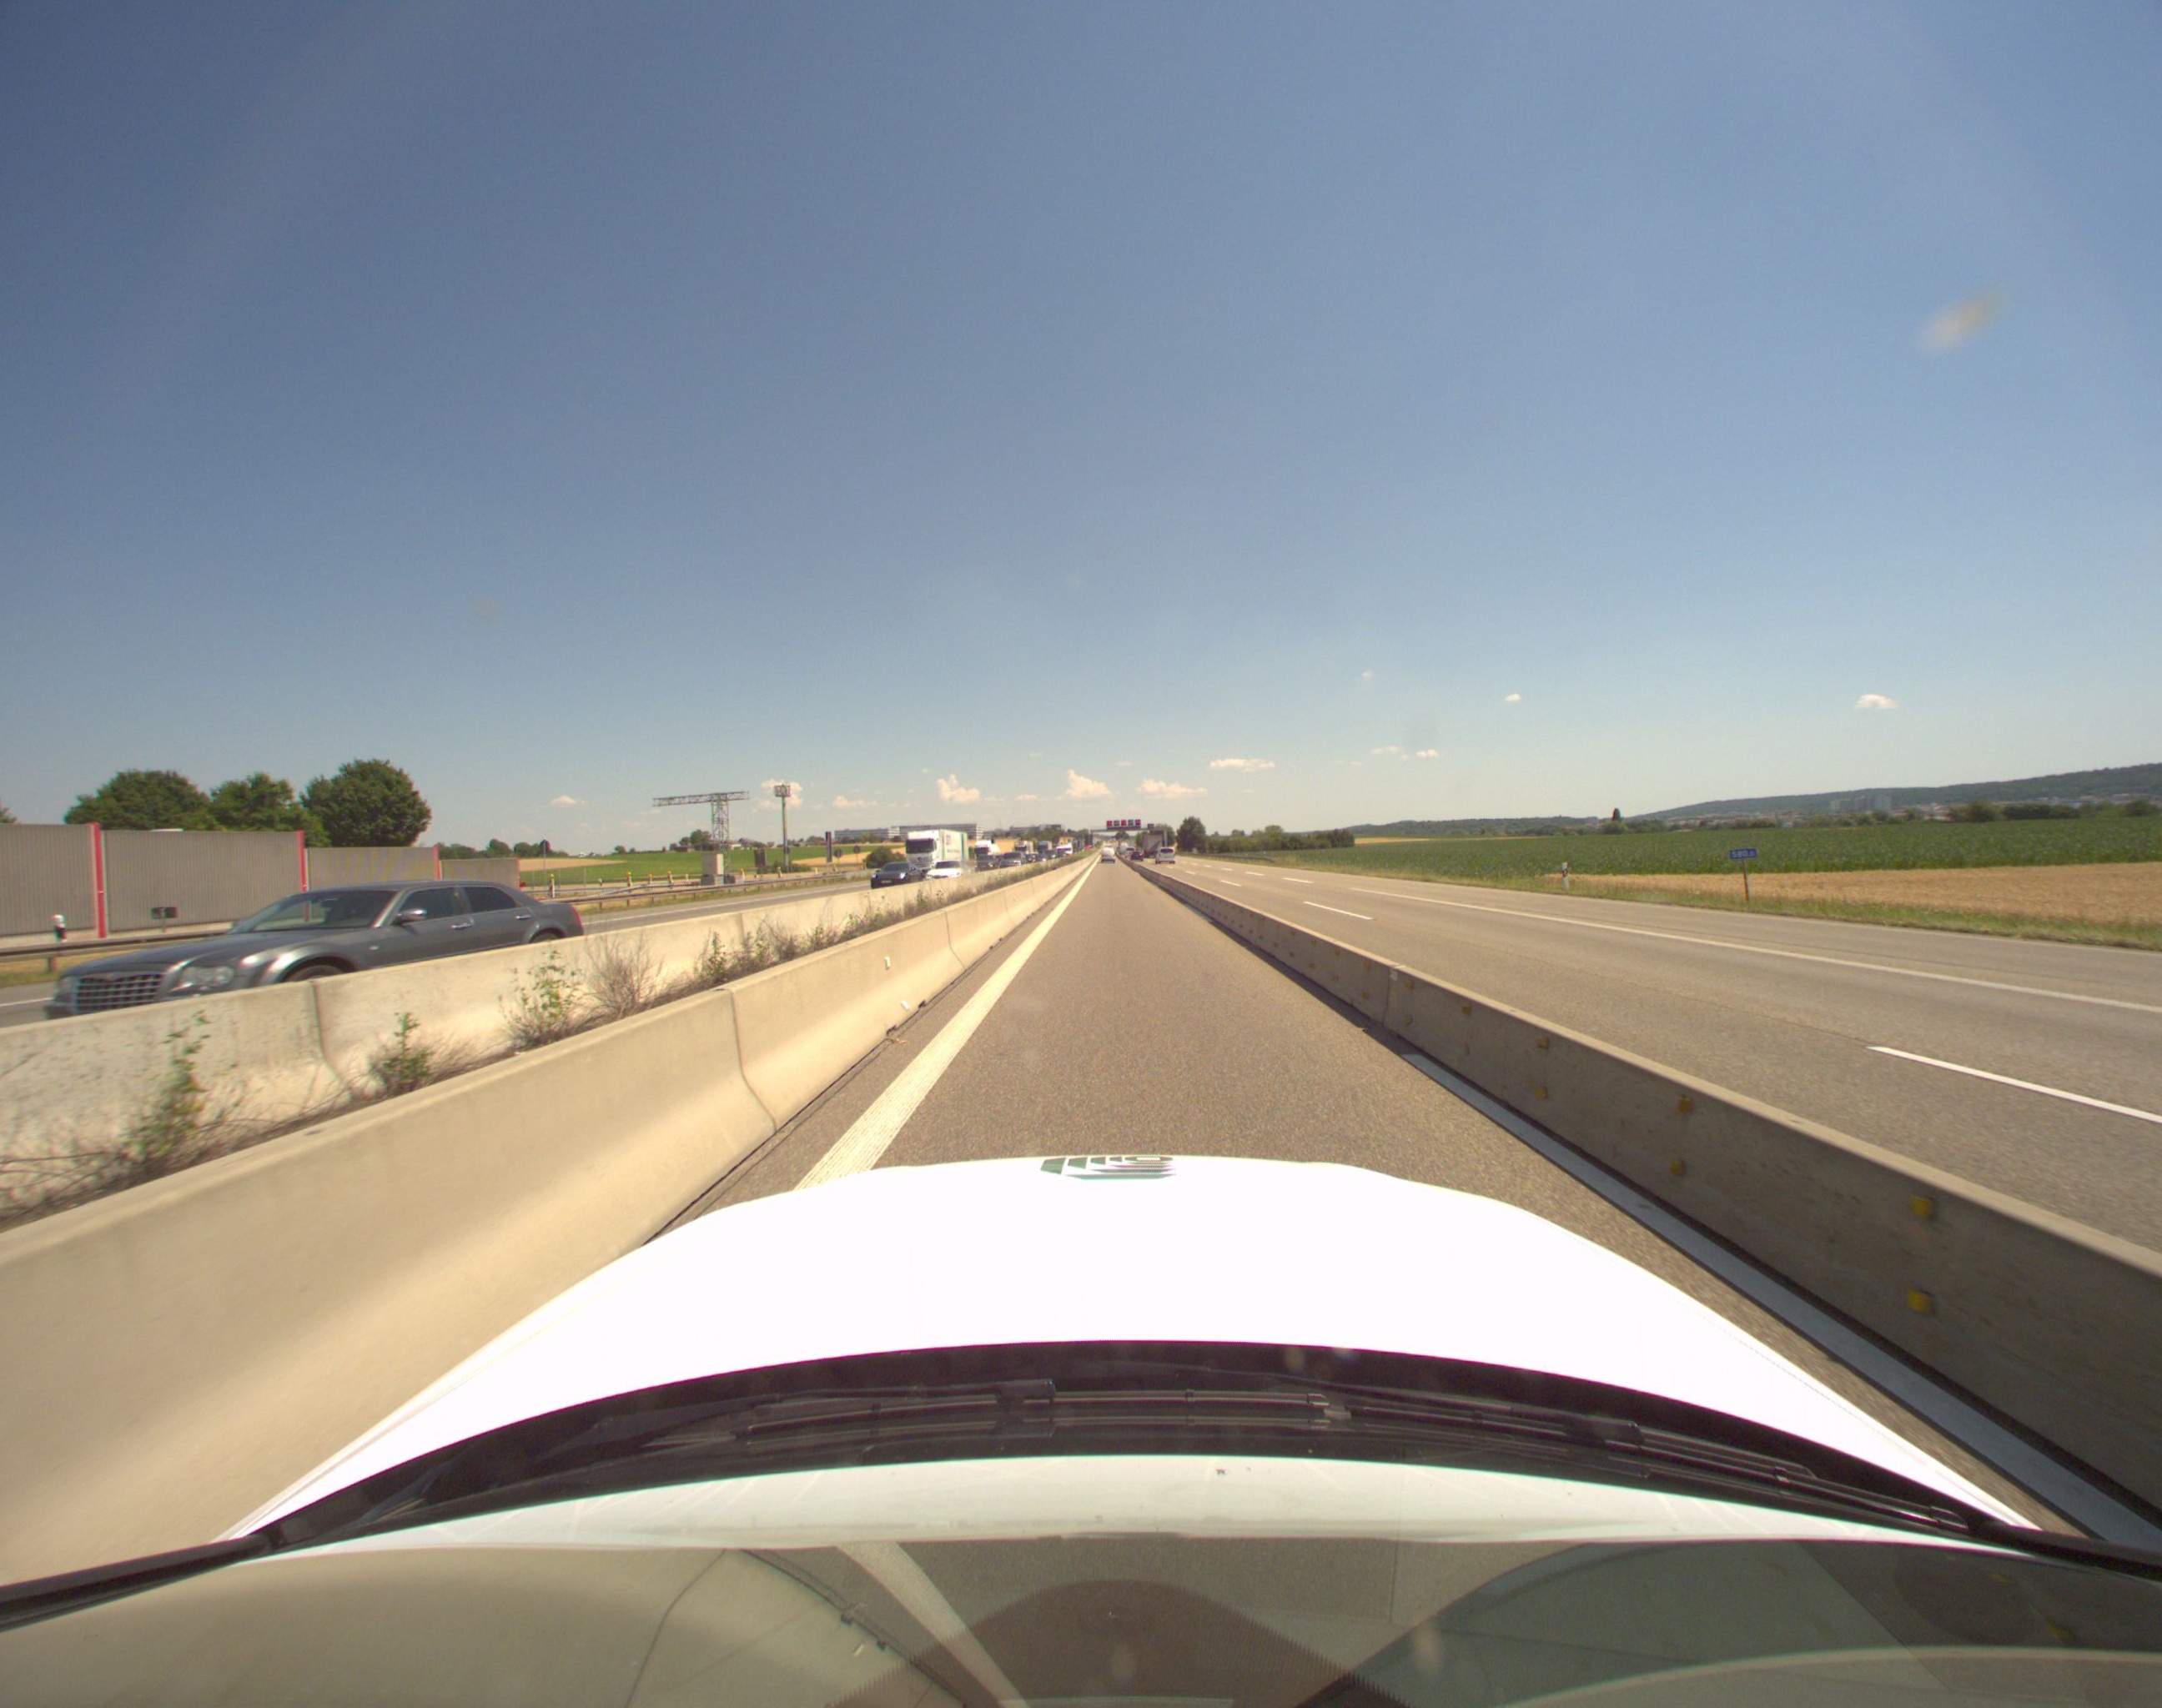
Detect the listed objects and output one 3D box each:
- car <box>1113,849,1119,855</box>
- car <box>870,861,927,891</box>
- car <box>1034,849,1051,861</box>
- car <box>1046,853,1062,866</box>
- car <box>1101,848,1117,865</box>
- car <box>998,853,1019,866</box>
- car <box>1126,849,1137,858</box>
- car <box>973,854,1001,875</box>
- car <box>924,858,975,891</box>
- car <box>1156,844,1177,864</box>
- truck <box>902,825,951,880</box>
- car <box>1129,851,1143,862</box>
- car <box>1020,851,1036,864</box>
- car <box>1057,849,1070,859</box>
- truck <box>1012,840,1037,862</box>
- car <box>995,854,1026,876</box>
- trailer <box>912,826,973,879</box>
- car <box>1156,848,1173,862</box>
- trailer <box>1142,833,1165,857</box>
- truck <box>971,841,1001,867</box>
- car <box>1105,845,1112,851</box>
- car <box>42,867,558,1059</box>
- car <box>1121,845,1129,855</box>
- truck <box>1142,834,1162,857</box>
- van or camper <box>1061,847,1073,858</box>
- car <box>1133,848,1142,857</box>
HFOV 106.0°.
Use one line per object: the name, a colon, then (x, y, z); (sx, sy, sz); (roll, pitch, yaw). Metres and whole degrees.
car: (11.134, -0.646, 259.782); (1.986, 1.835, 4.002); (-1, 0, 2)
car: (-9.750, 1.138, 43.930); (1.805, 1.486, 4.965); (-1, 0, 2)
car: (-4.532, 0.093, 96.753); (1.649, 1.351, 4.269); (-1, 0, 2)
car: (-3.707, 0.732, 111.491); (1.836, 1.569, 5.347); (-1, 0, 2)
car: (3.483, 0.297, 102.046); (1.986, 2.013, 4.001); (-1, 0, 2)
car: (-8.574, 0.614, 96.085); (1.839, 1.482, 4.924); (-1, 0, 2)
car: (9.051, -0.080, 146.716); (1.767, 1.447, 4.001); (-1, 0, 2)
car: (-8.764, 0.957, 76.079); (1.986, 1.816, 4.001); (-1, 0, 1)
car: (-6.496, 0.998, 40.726); (1.668, 1.519, 4.510); (-1, 0, 2)
car: (9.630, 0.012, 92.006); (1.986, 2.120, 4.001); (-1, 0, 2)
truck: (-13.065, -0.147, 69.266); (2.860, 4.374, 4.905); (-4, 0, 1)
car: (7.569, 0.398, 112.441); (1.767, 1.447, 4.001); (-1, 0, 2)
car: (-7.419, 0.446, 114.460); (1.649, 1.651, 4.667); (-1, 0, 2)
car: (-2.906, -0.053, 135.956); (1.775, 1.589, 4.543); (-1, 0, 2)
truck: (-10.164, -0.524, 147.083); (2.784, 3.609, 13.296); (-4, 0, 2)
car: (-5.543, 0.818, 64.260); (1.883, 1.617, 4.822); (-1, 0, 2)
trailer: (-12.821, -0.176, 76.579); (2.882, 4.374, 12.998); (-4, 0, 2)
car: (11.434, 0.160, 111.582); (1.986, 1.794, 4.001); (-1, 0, 2)
trailer: (12.646, -1.530, 142.538); (3.265, 3.967, 9.116); (-1, 0, 2)
truck: (-15.573, -0.044, 134.325); (2.889, 3.776, 13.291); (-4, 0, 1)
car: (8.313, -1.769, 247.522); (1.986, 1.835, 4.002); (-1, 0, 2)
car: (-7.867, 0.953, 8.856); (1.649, 1.519, 4.001); (-1, 0, 2)
car: (10.136, -0.895, 187.586); (1.767, 2.392, 4.001); (-1, 0, 2)
truck: (12.762, -1.501, 146.602); (3.259, 3.967, 4.914); (-1, 0, 1)
van or camper: (-2.722, -0.373, 163.490); (2.028, 2.221, 7.210); (0, 0, 1)
car: (13.567, -0.415, 195.178); (1.986, 2.013, 4.001); (-1, 0, 2)
